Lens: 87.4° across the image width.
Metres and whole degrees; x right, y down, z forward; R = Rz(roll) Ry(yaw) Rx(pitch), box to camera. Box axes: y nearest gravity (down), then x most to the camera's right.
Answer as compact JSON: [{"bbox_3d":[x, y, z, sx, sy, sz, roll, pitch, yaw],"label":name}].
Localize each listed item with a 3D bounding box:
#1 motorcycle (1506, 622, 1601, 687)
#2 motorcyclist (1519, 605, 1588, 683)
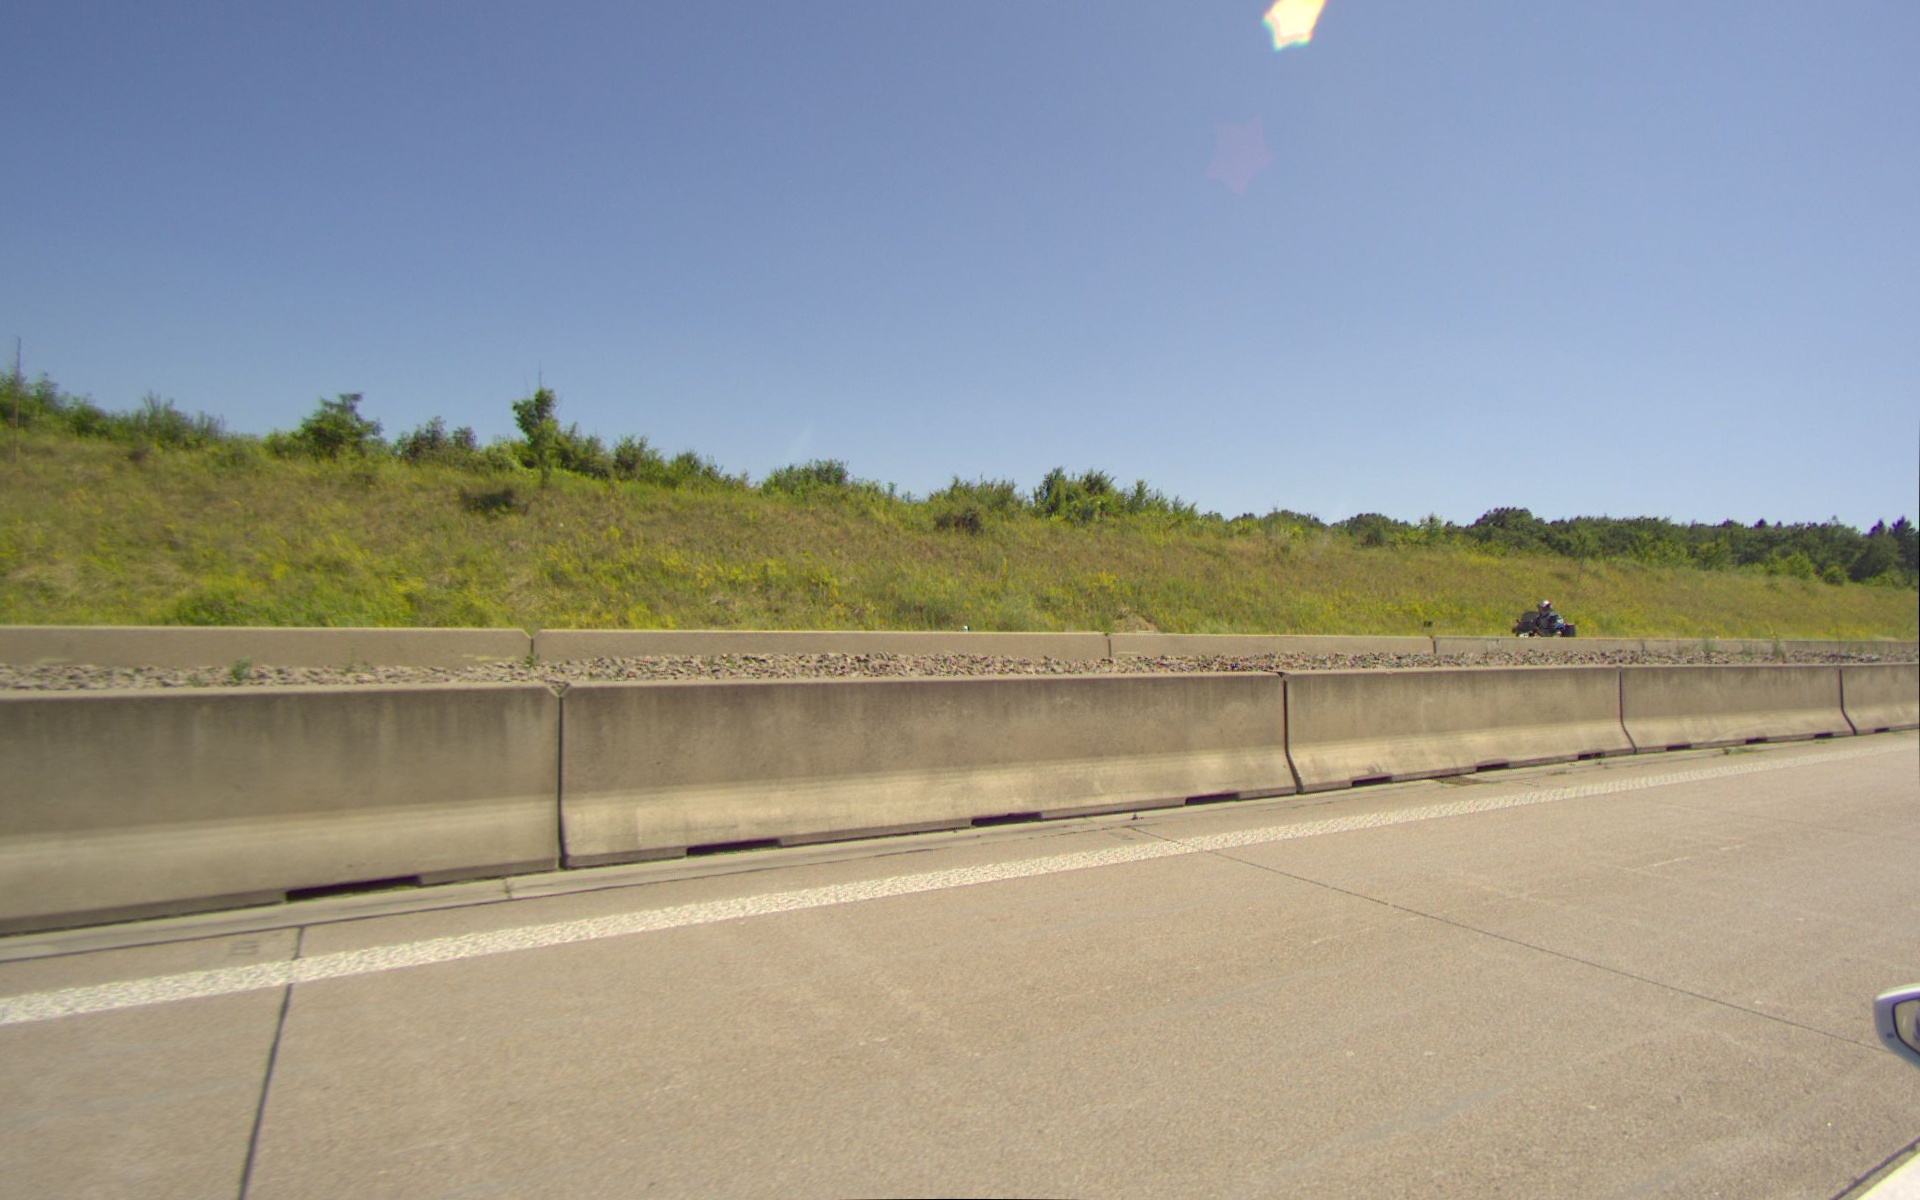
[{"bbox_3d":[13.534,1.220,22.877,2.330,1.390,0.820,1,0,-30],"label":"motorcycle"},{"bbox_3d":[13.534,0.991,22.881,1.507,1.732,0.689,1,0,-30],"label":"motorcyclist"}]
